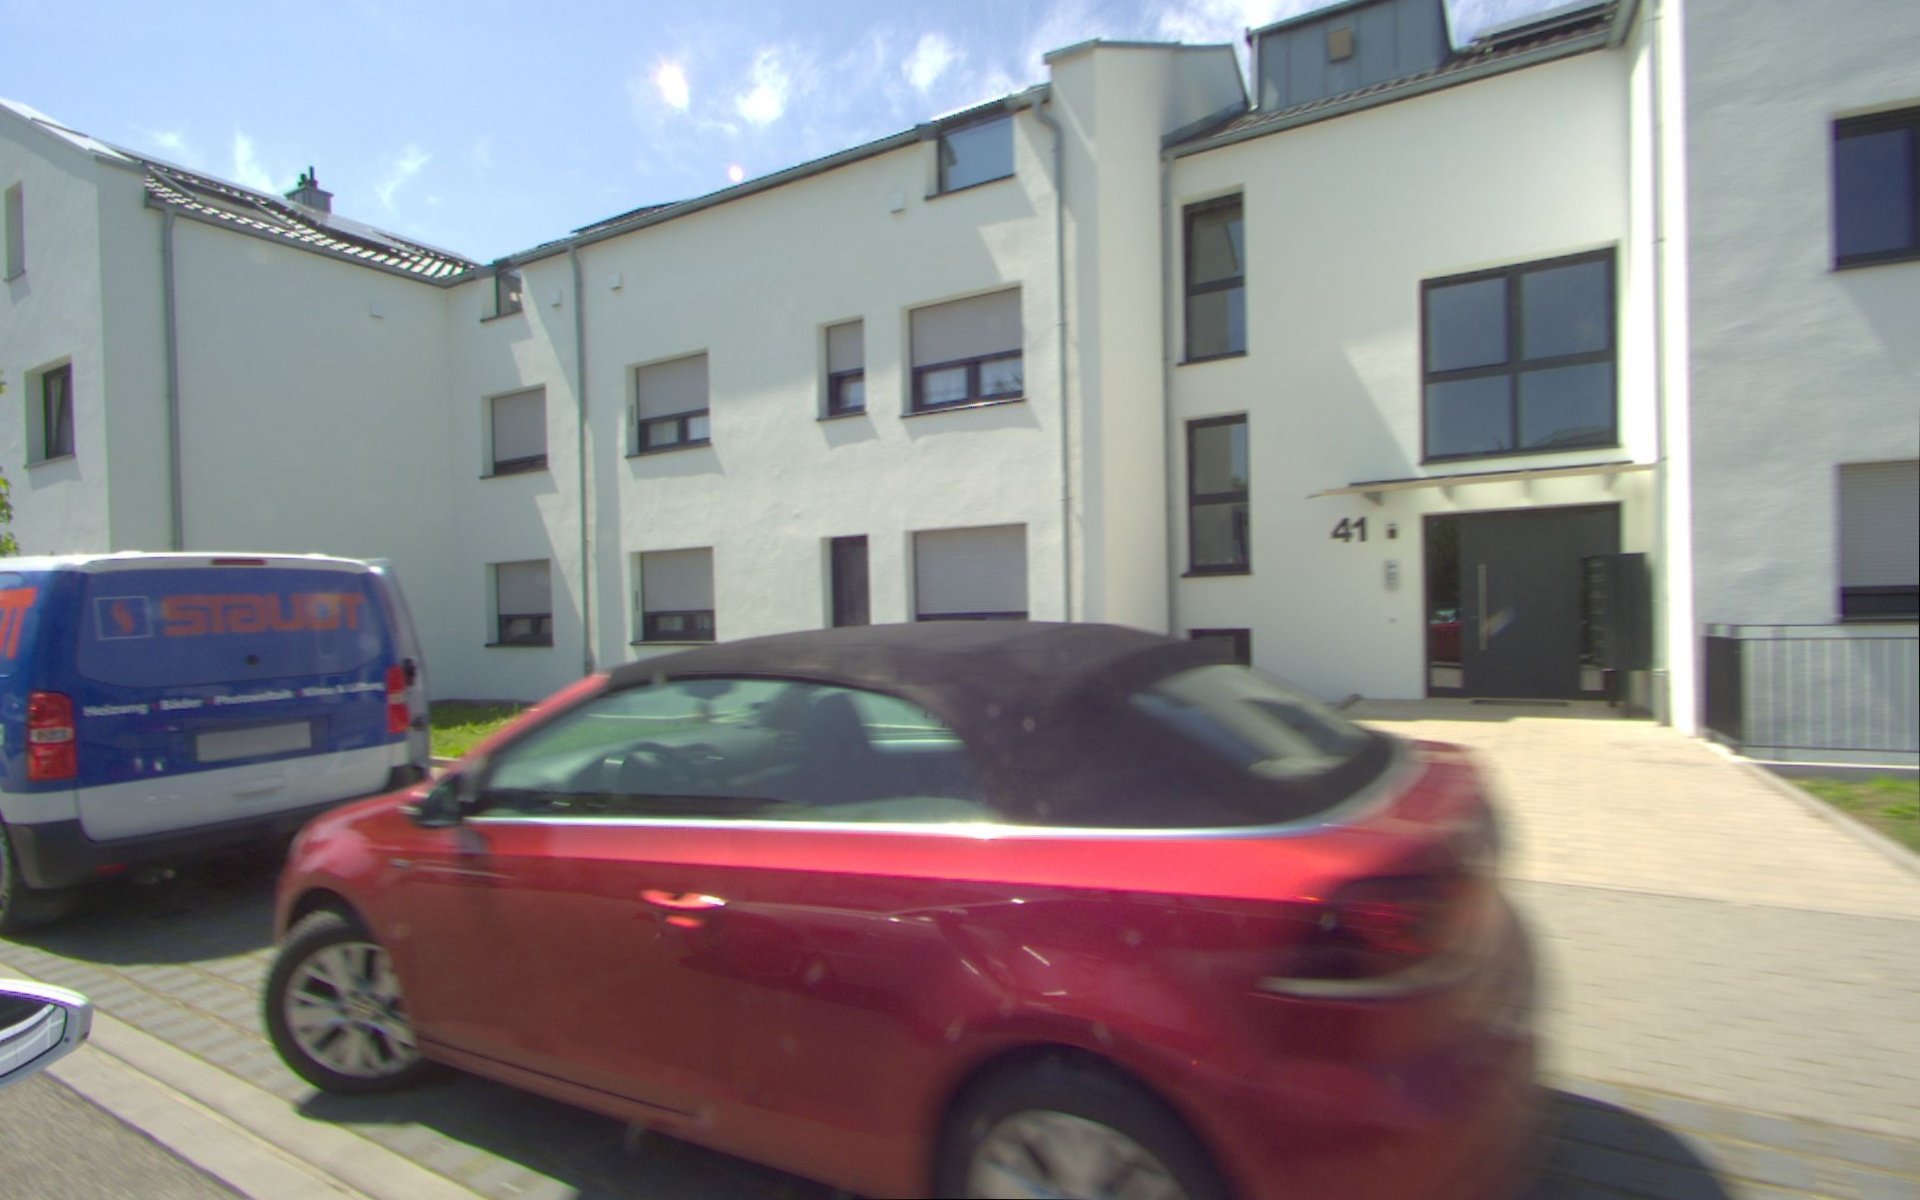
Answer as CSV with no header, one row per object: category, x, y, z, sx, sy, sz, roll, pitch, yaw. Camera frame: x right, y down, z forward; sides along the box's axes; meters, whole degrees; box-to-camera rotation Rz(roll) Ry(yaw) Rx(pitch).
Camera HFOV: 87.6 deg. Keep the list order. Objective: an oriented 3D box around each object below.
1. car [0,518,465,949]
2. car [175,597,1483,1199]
car,-5.647,0.639,6.620,4.775,1.907,2.094,-1,0,33
car,-0.583,0.767,3.226,3.966,1.461,1.677,-1,0,30
